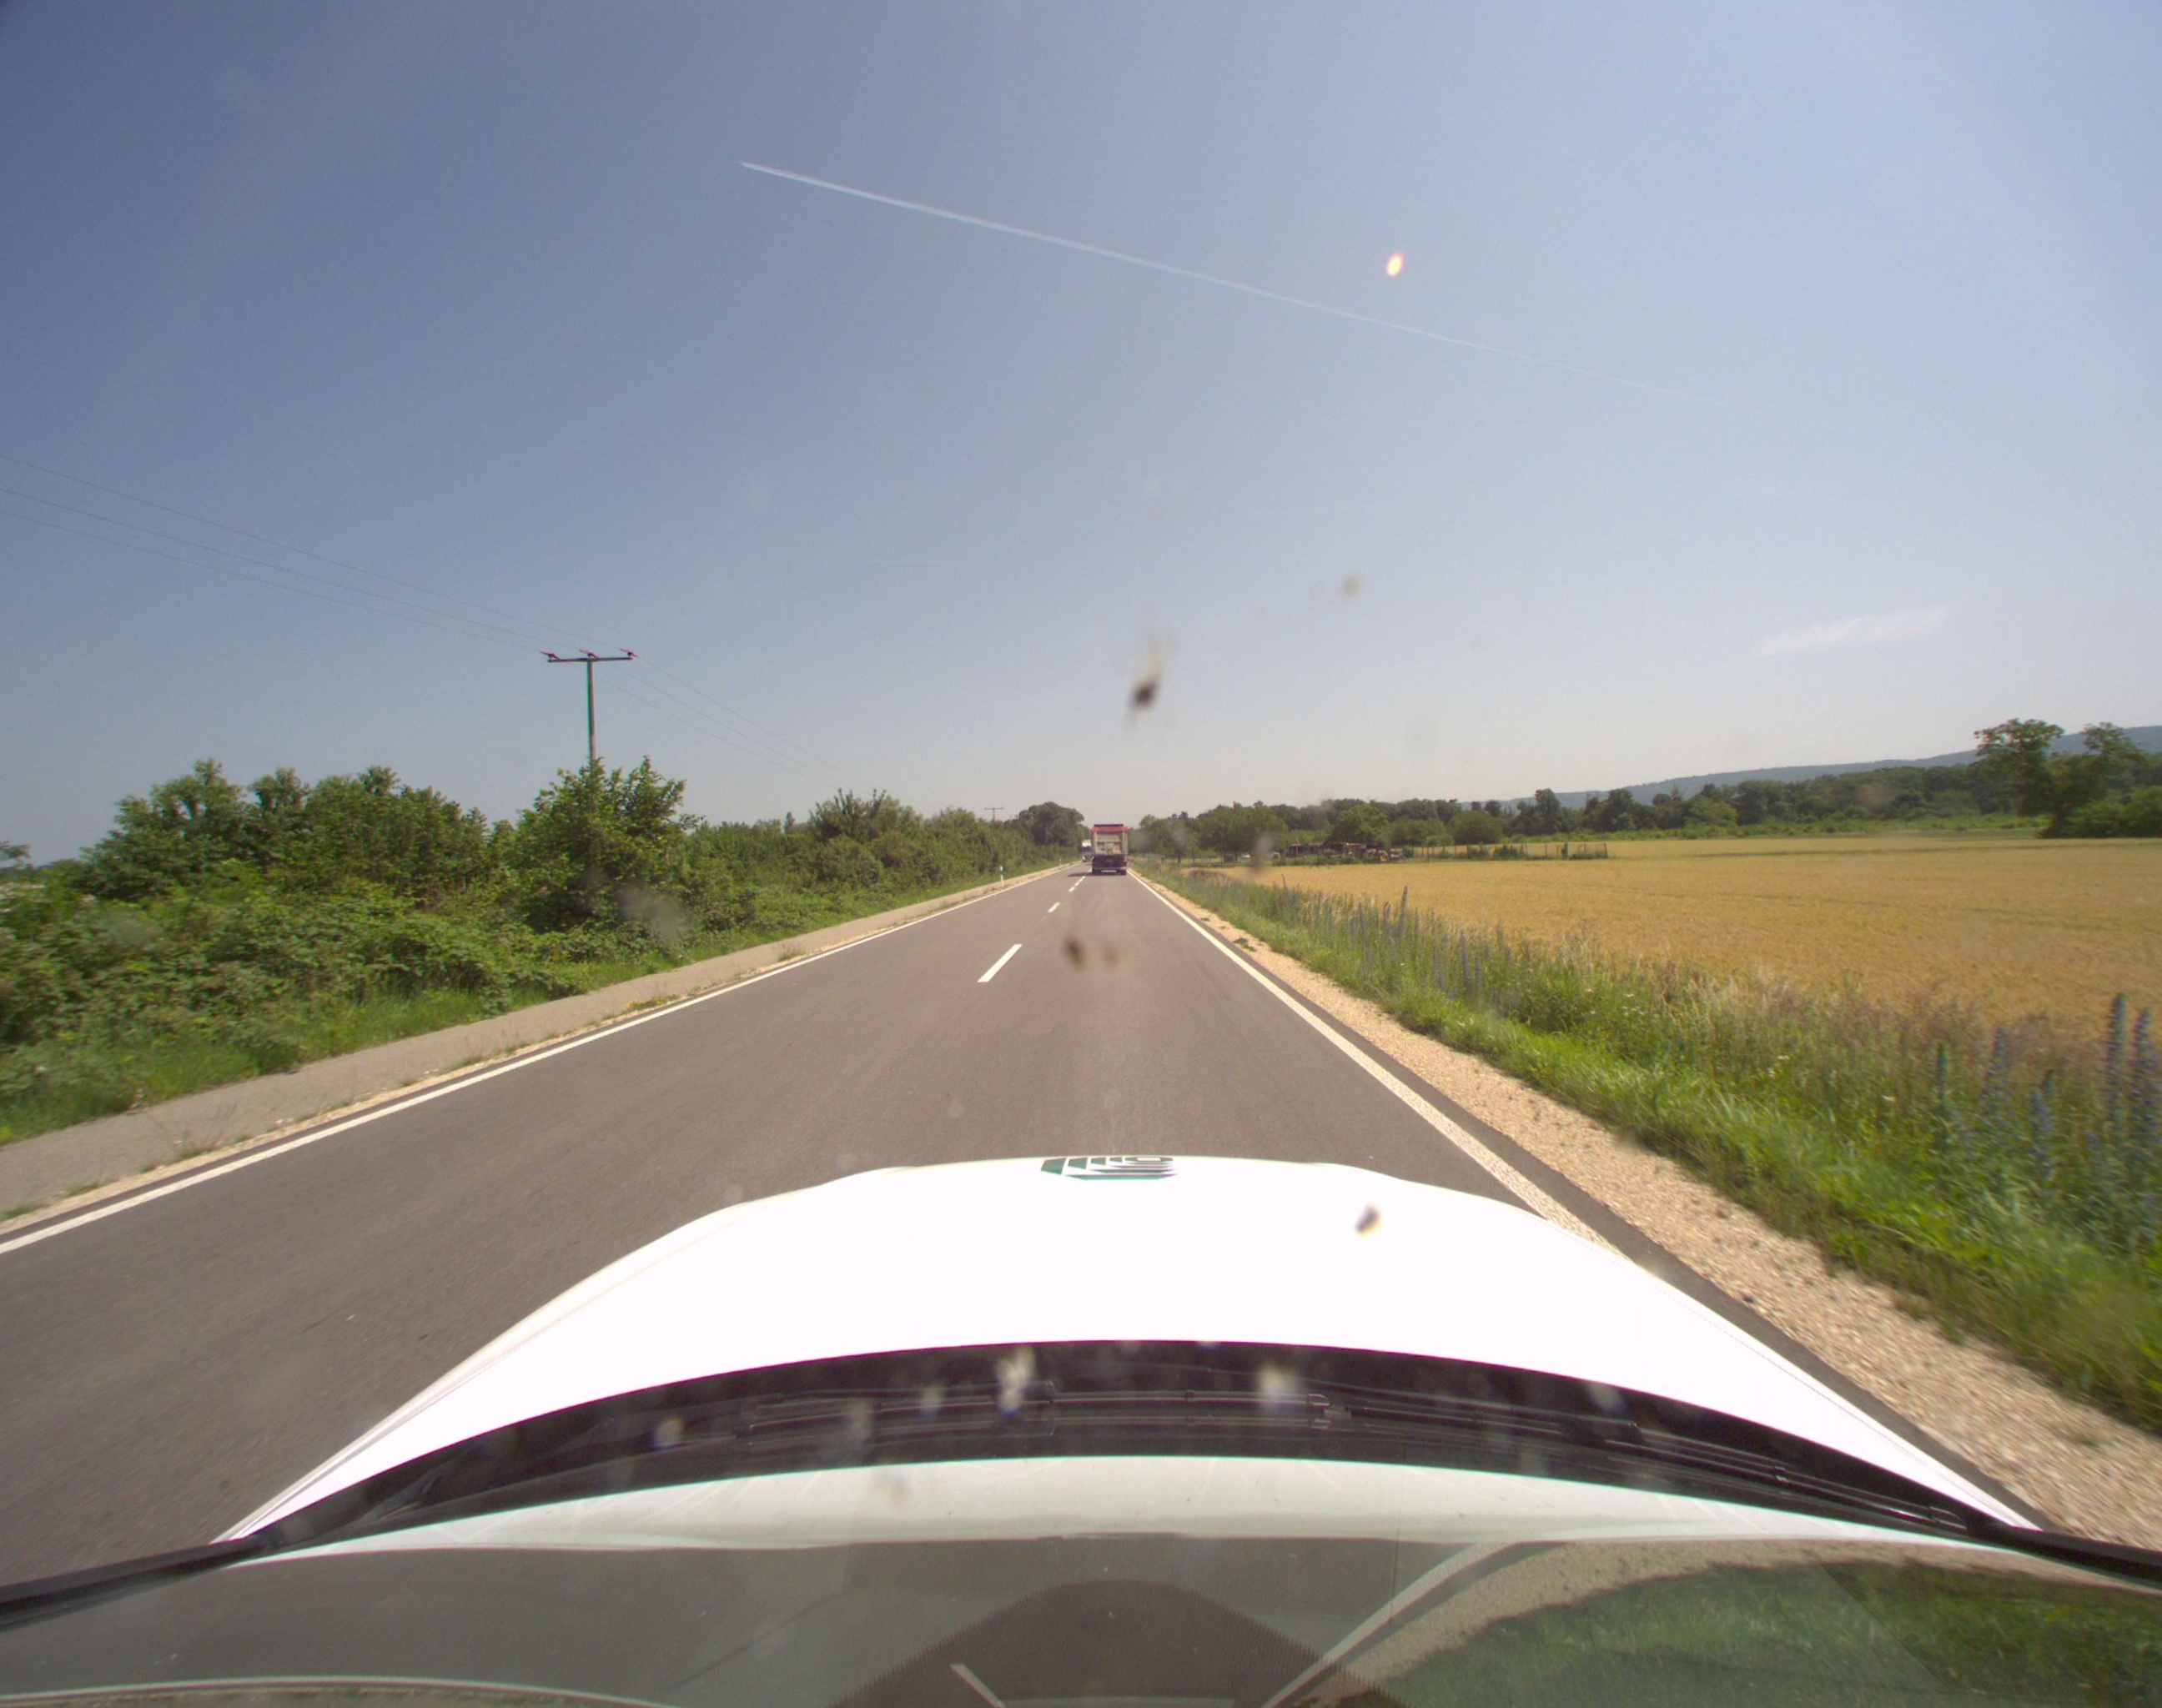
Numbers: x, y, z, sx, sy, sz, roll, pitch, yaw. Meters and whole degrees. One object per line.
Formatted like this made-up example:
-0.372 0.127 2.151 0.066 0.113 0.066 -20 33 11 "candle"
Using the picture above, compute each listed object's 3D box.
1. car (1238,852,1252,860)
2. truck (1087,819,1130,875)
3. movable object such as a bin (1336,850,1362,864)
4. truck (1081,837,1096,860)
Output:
32.676 0.334 162.305 1.591 1.486 3.420 -1 1 -6 "car"
2.107 -0.484 62.459 2.998 3.874 12.213 0 0 2 "truck"
29.827 0.318 90.700 1.567 1.496 3.655 -1 0 -3 "movable object such as a bin"
1.530 -1.062 162.591 2.707 4.266 7.393 -3 0 2 "truck"
